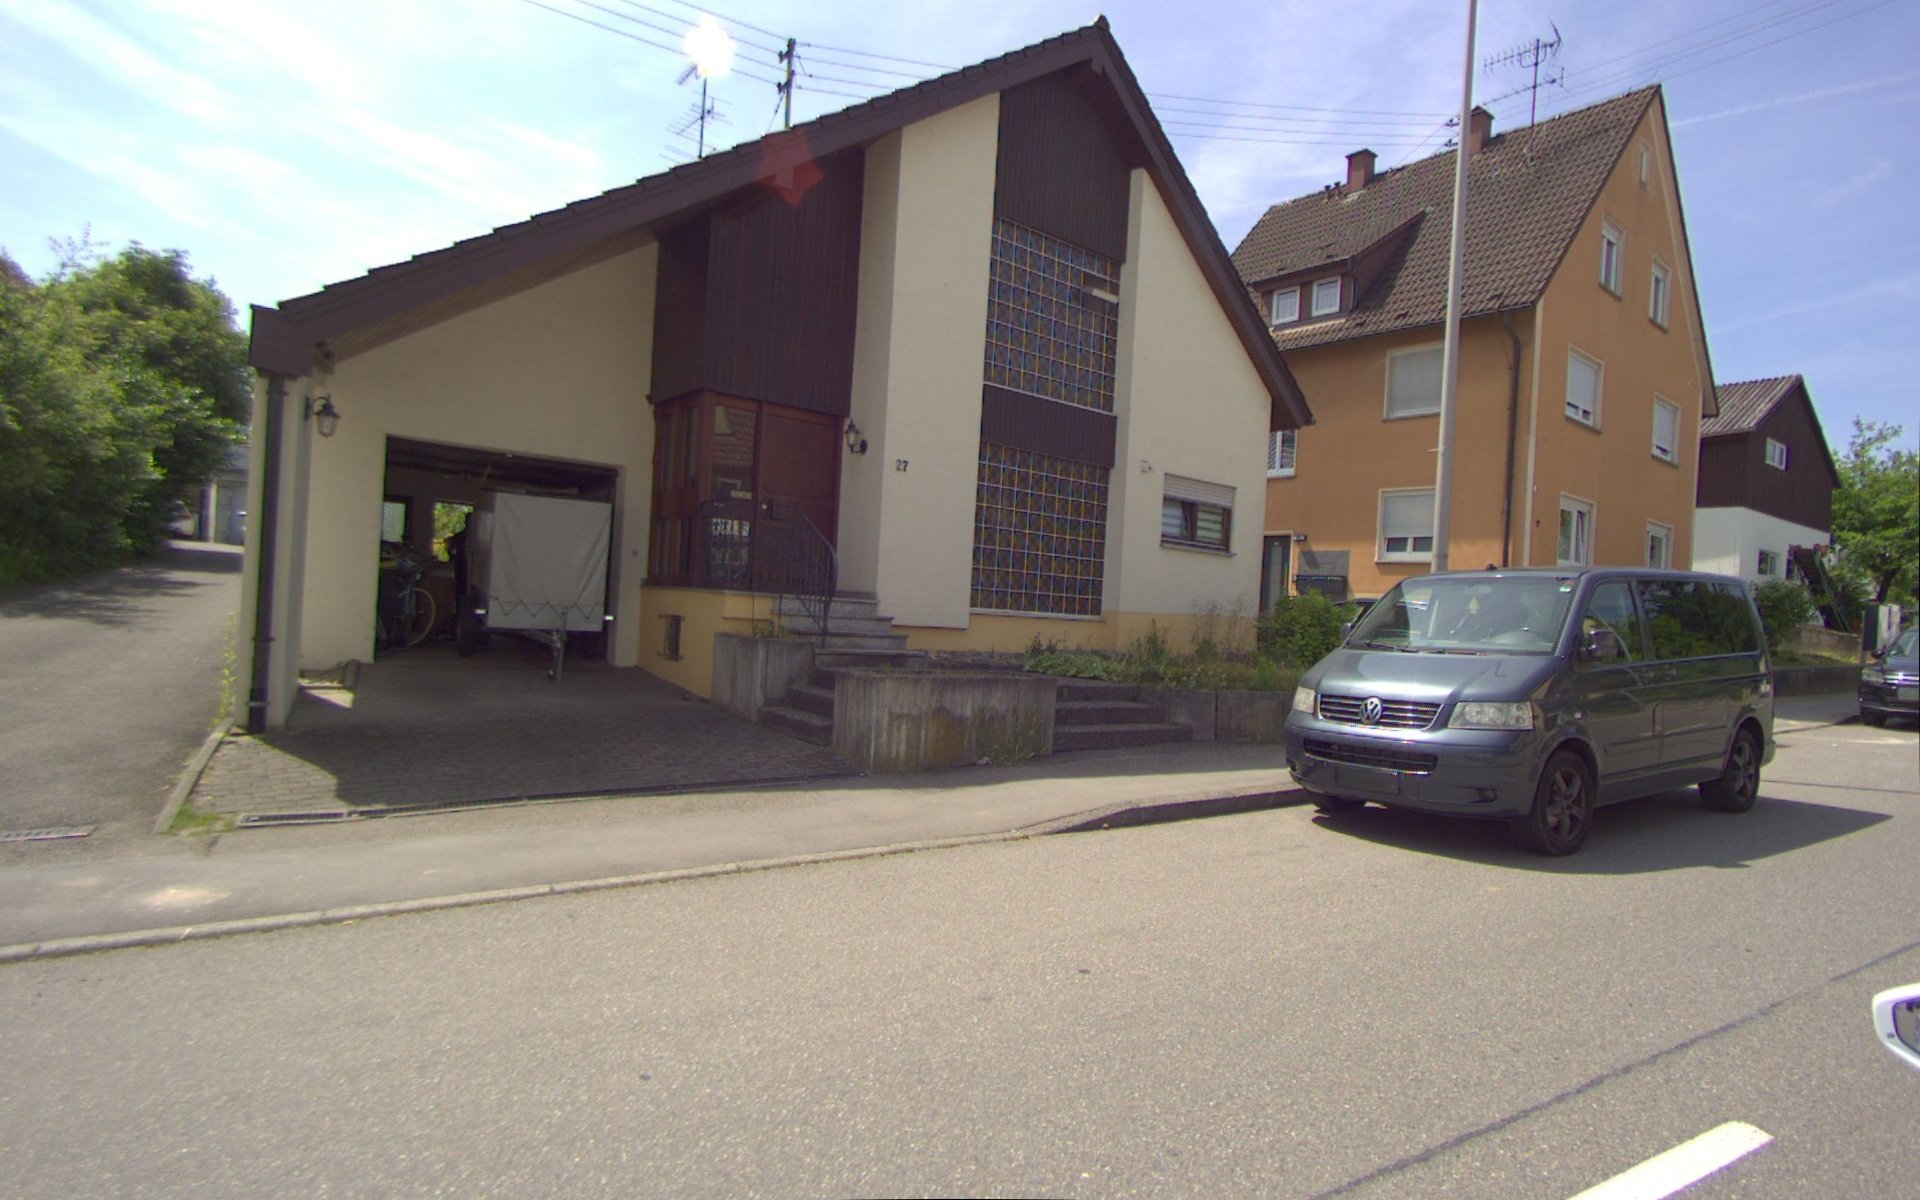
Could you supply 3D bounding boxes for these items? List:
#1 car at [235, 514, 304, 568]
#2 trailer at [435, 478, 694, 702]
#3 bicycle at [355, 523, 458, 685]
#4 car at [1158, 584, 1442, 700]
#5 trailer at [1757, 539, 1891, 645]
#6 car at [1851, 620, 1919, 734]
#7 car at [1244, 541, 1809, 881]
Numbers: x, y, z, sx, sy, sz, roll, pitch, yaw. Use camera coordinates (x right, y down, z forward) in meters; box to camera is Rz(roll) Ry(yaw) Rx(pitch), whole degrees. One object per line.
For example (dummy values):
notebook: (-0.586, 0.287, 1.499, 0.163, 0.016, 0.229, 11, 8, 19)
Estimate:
car: (-24.019, -2.016, 35.043, 1.788, 1.684, 3.579, 2, 1, -32)
trailer: (-4.703, -0.252, 11.579, 1.979, 2.041, 3.807, 2, 6, -34)
bicycle: (-6.057, -0.028, 10.902, 0.753, 1.399, 2.731, 3, 6, -33)
car: (5.579, 0.609, 16.973, 1.805, 1.424, 4.197, 1, 4, -37)
trailer: (25.852, -0.165, 29.970, 6.117, 2.886, 1.700, 2, 0, -37)
car: (15.821, 1.179, 15.869, 4.246, 1.657, 1.757, 1, -1, -36)
car: (4.650, 0.721, 7.959, 4.933, 1.963, 1.880, 2, -2, -33)
